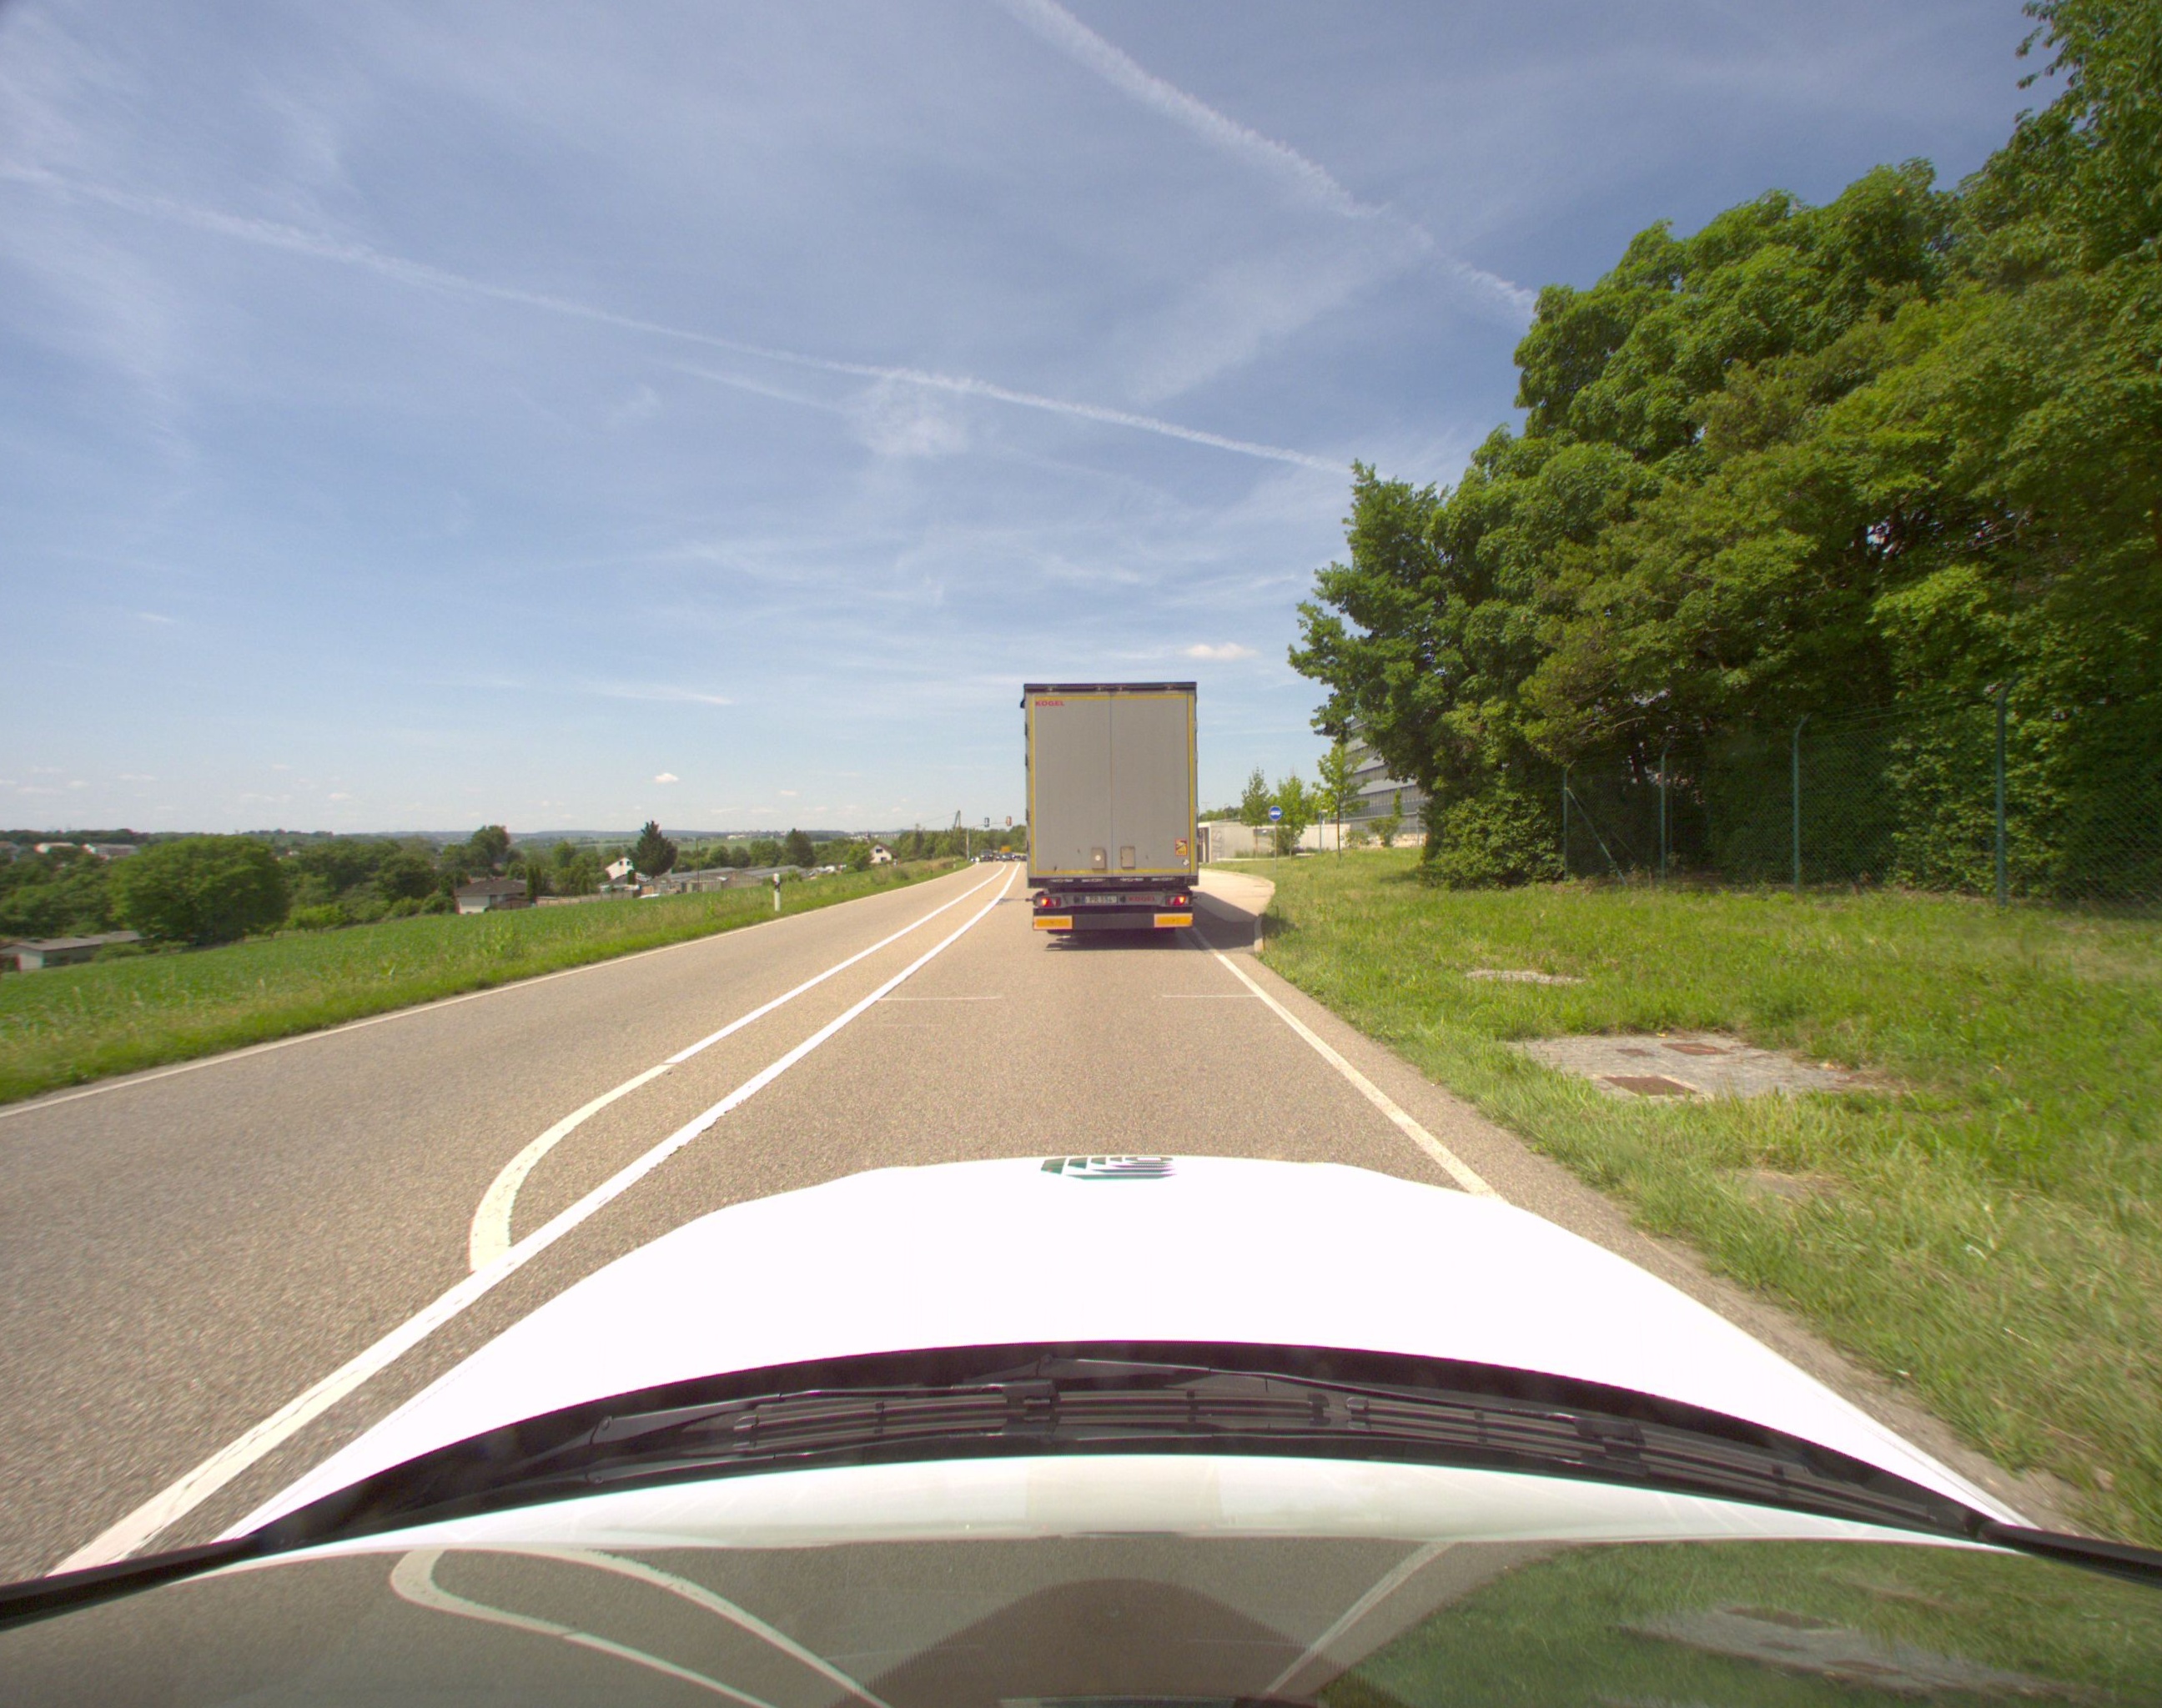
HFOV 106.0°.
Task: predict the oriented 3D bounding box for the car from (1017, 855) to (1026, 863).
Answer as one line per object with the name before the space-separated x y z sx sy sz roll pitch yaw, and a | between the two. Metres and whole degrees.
car | -14.555 1.191 200.007 1.887 1.776 4.383 -3 0 -2

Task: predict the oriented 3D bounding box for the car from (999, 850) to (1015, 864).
car | -11.148 0.416 123.019 1.989 1.949 4.498 -3 0 -3

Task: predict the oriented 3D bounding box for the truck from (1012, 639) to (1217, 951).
truck | 0.526 -0.872 16.011 2.897 4.409 8.860 0 0 1

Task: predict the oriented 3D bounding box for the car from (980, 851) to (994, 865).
car | -14.774 0.629 128.124 1.990 1.978 5.270 -3 0 -5

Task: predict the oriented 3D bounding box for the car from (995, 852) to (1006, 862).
car | -15.271 0.607 154.446 1.990 1.815 4.289 -3 1 -5

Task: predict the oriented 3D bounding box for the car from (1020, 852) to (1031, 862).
car | -12.279 0.682 179.179 2.166 2.013 4.523 -3 0 -2

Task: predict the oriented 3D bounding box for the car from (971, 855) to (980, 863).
car | -25.090 1.103 194.300 1.991 1.787 3.991 -3 0 -6
